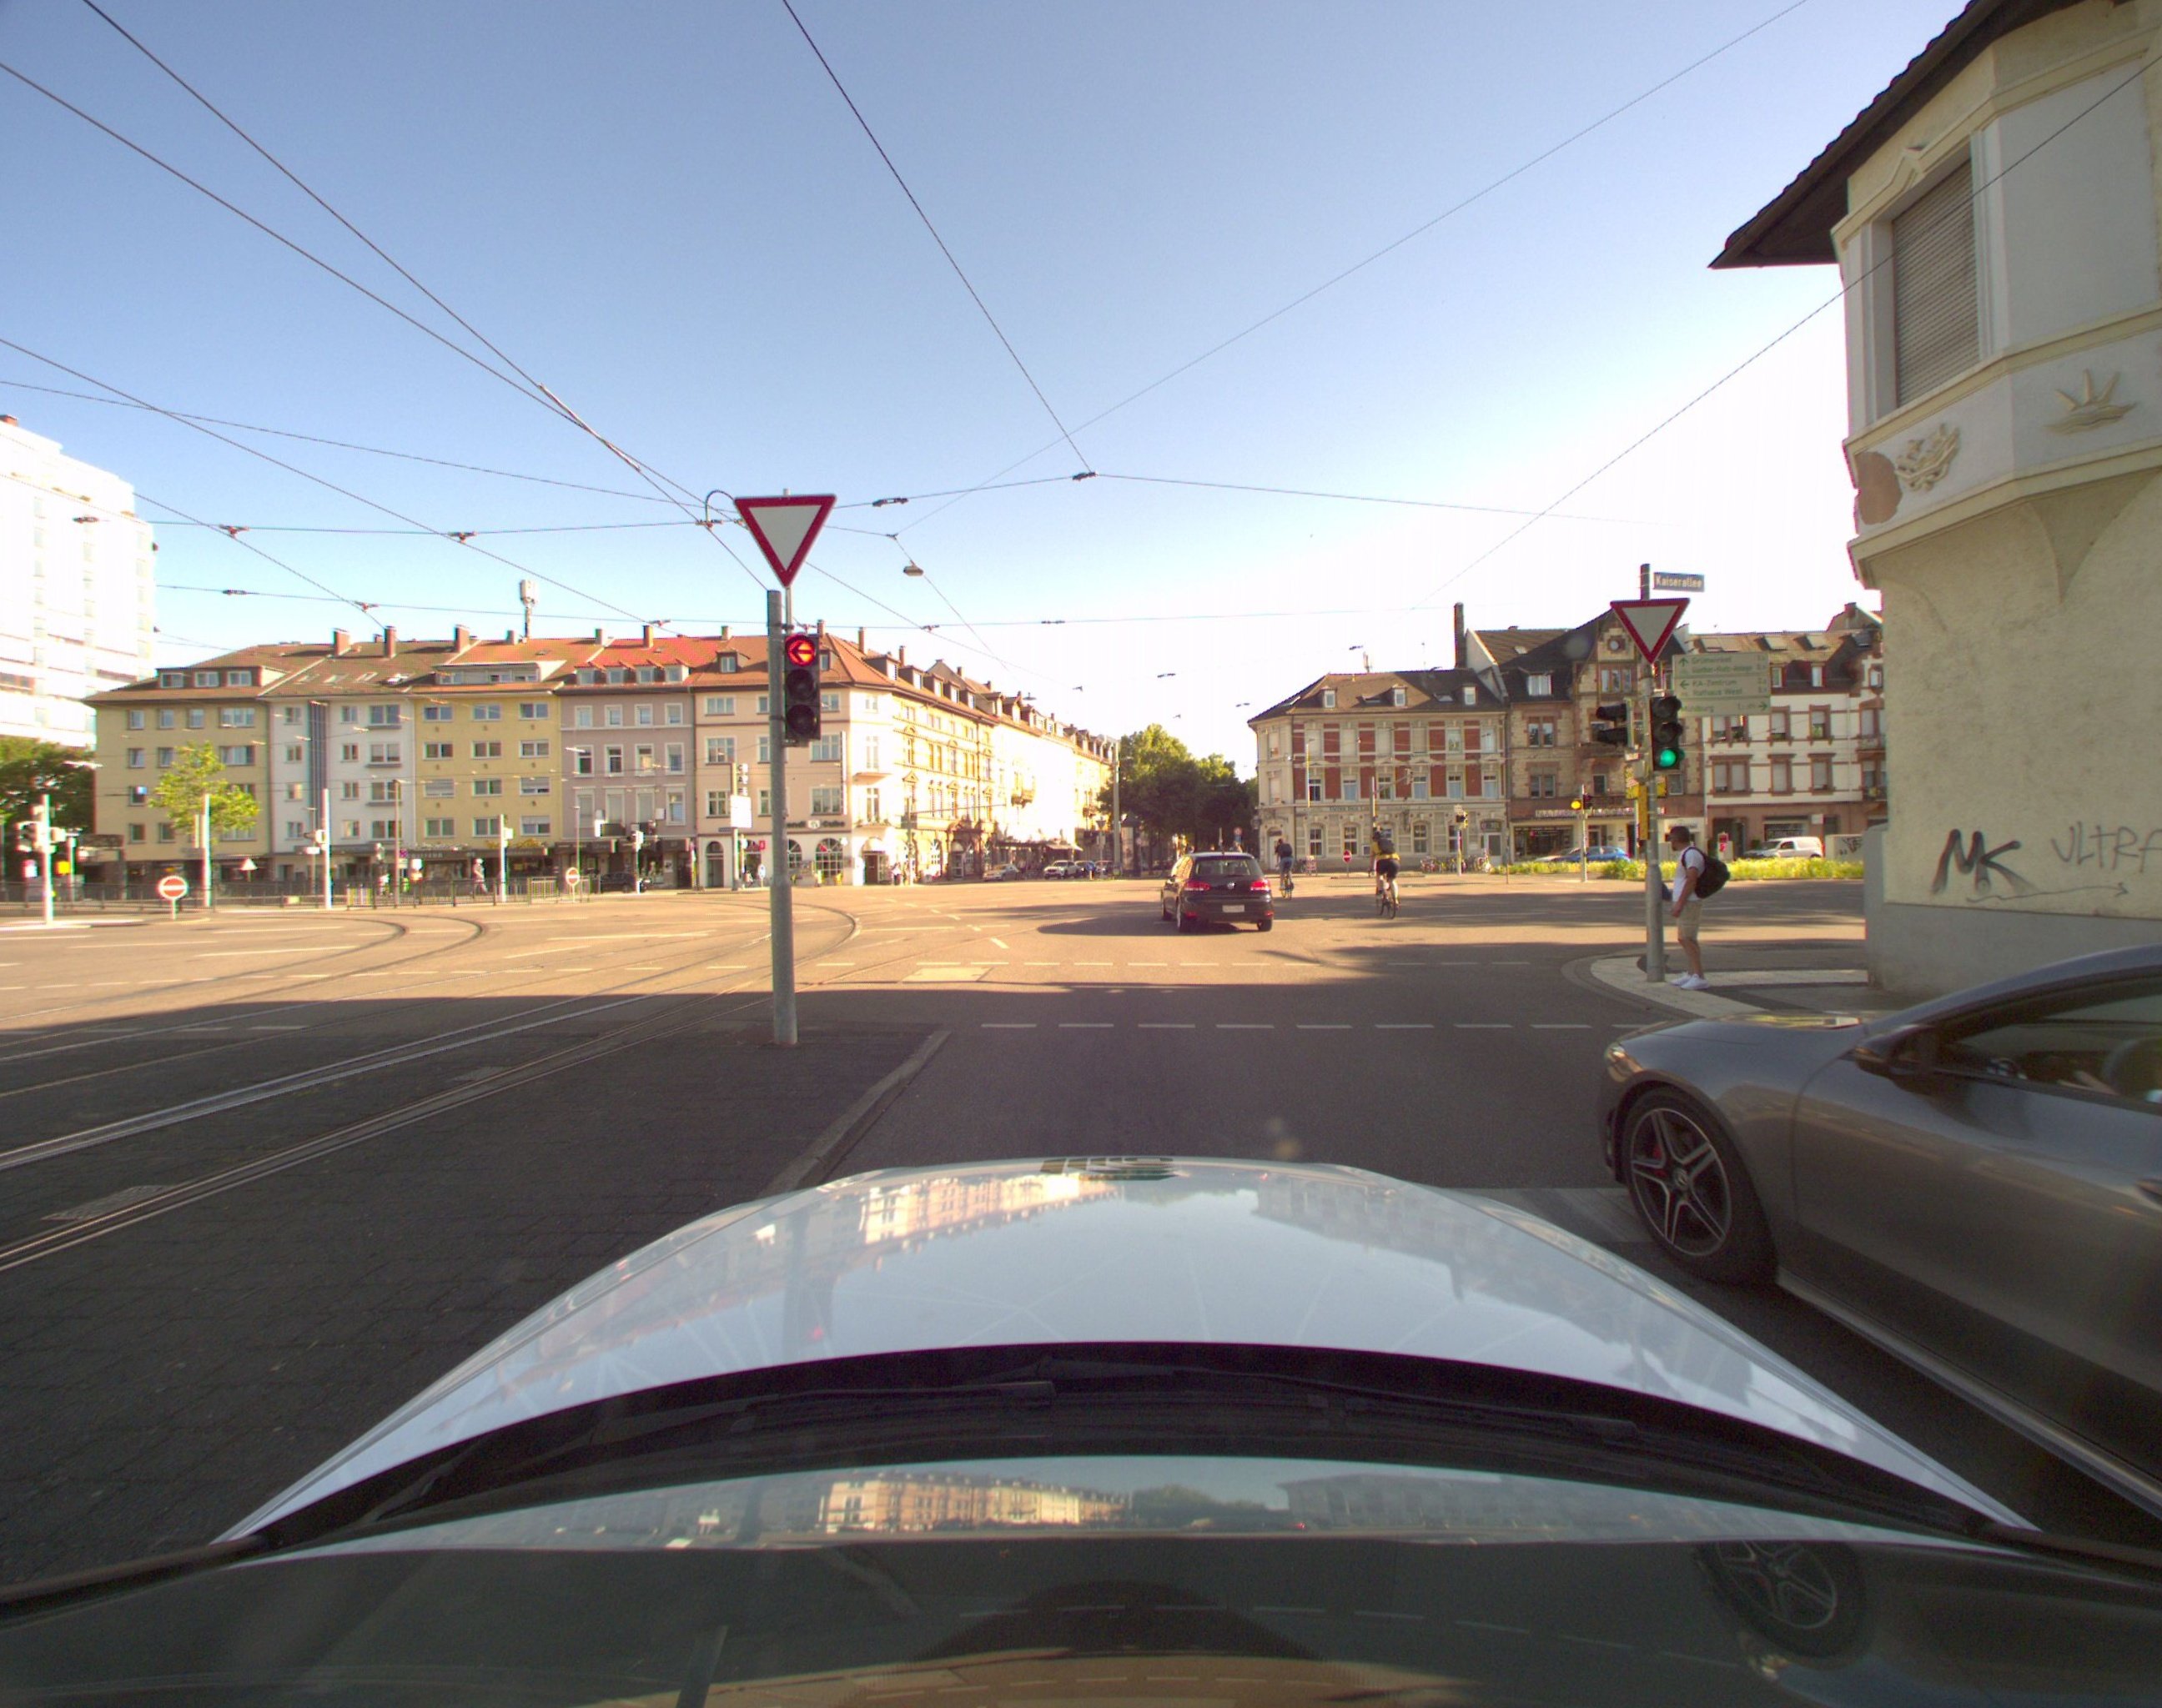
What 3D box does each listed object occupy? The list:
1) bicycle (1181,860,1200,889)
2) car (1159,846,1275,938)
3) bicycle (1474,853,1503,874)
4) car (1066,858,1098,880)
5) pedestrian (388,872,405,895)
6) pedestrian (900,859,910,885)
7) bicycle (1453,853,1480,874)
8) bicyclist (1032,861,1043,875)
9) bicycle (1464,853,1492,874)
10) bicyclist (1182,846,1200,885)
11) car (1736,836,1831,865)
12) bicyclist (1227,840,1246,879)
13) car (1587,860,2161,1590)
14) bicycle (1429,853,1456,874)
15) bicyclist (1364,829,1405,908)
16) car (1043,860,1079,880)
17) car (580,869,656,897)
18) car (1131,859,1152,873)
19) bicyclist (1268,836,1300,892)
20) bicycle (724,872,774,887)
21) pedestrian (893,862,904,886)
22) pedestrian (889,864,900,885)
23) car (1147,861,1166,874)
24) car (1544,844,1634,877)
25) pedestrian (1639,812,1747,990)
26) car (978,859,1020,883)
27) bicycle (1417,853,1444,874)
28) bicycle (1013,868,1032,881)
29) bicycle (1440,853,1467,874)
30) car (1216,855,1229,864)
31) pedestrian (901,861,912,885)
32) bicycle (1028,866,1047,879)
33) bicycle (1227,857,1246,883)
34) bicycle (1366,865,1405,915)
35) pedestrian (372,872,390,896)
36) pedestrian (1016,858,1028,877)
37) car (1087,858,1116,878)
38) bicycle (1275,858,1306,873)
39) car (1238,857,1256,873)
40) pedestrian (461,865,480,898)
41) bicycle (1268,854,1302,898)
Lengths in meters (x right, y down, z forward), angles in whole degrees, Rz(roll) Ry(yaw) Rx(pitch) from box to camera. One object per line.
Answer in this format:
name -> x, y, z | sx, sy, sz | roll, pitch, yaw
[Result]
bicycle -> 4.199, 0.765, 31.174 | 0.623, 1.085, 1.705 | 0, -1, 5
car -> 2.531, 0.633, 16.004 | 1.722, 1.508, 4.053 | 0, 1, 2
bicycle -> 26.198, 0.610, 52.372 | 0.626, 1.287, 2.663 | 0, -1, 3
car -> 0.092, 1.364, 73.859 | 1.979, 1.904, 4.015 | -1, -1, 14
pedestrian -> -48.407, 2.094, 57.595 | 0.631, 1.634, 0.700 | 0, -1, -2
pedestrian -> -12.794, 1.306, 59.164 | 0.631, 1.881, 0.465 | 0, -1, -2
bicycle -> 24.776, 0.620, 52.404 | 0.626, 1.287, 2.663 | 0, -1, 3
bicyclist -> -3.771, 1.212, 70.612 | 0.626, 1.185, 0.689 | -1, -1, 23
bicycle -> 25.503, 0.615, 52.400 | 0.626, 1.287, 2.663 | 0, -1, 3
bicyclist -> 4.221, 0.431, 31.349 | 0.635, 1.494, 0.885 | 0, 1, 6
car -> 45.312, -0.227, 52.588 | 4.349, 1.778, 2.000 | 0, -1, 1
bicyclist -> 6.488, 0.227, 33.960 | 0.684, 1.633, 0.887 | -1, -1, 14
car -> 3.049, 0.725, 1.274 | 1.899, 1.420, 4.496 | 0, 0, 3
bicycle -> 23.262, 0.617, 52.439 | 0.689, 1.287, 2.663 | 0, -1, 3
bicyclist -> 6.558, 0.303, 17.614 | 0.799, 1.663, 0.888 | -1, -1, 19
car -> -1.655, 1.292, 67.503 | 1.979, 1.618, 4.015 | -1, -1, 14
car -> -30.588, 1.910, 53.827 | 3.962, 1.670, 2.006 | -2, 0, 10
car -> 8.392, 1.614, 112.708 | 1.977, 1.904, 4.019 | -1, -1, 19
bicyclist -> 5.947, 0.296, 23.879 | 0.801, 1.606, 0.885 | 0, -1, 7
bicycle -> -23.425, 1.782, 57.477 | 3.118, 0.980, 1.002 | 0, -1, 1
pedestrian -> -12.636, 1.365, 56.378 | 0.631, 1.634, 0.700 | 0, -1, -2
pedestrian -> -13.283, 1.455, 57.971 | 0.631, 1.477, 0.465 | 0, -1, -2
car -> 11.393, 2.066, 122.492 | 1.977, 1.904, 4.019 | -1, -1, 19
car -> 28.219, 0.347, 45.346 | 3.769, 1.778, 2.000 | 0, -1, 1
pedestrian -> 6.410, 0.475, 8.540 | 0.589, 1.756, 0.635 | -5, -1, -37
car -> -6.741, 1.362, 67.483 | 1.977, 1.904, 4.019 | -1, -1, 19
bicycle -> 22.475, 0.595, 52.461 | 0.689, 1.287, 2.663 | 0, -1, 3
bicycle -> -4.732, 1.630, 65.571 | 0.756, 1.008, 2.406 | -1, -1, 16
bicycle -> 23.985, 0.605, 52.432 | 0.626, 1.287, 2.663 | 0, -1, 3
car -> 23.320, 0.912, 134.483 | 1.546, 1.513, 3.673 | -1, -1, 19
pedestrian -> -12.340, 1.348, 57.727 | 0.631, 1.634, 0.700 | 0, -1, -2
bicycle -> -3.754, 1.614, 70.665 | 0.644, 1.123, 2.265 | -1, -1, 23
bicycle -> 6.522, 0.656, 34.026 | 0.644, 1.031, 1.778 | -1, -1, 15
bicycle -> 6.635, 0.761, 17.785 | 0.748, 1.031, 1.789 | -1, -1, 20
pedestrian -> -48.426, 2.085, 56.370 | 0.631, 1.634, 0.700 | 0, -1, -2
pedestrian -> -4.761, 1.100, 65.503 | 0.814, 1.512, 0.601 | -1, -1, 16
car -> 2.023, 1.397, 79.768 | 1.979, 1.904, 4.015 | -1, -1, 14
bicycle -> 14.646, 0.822, 56.949 | 2.040, 0.998, 0.631 | -1, -1, 4
car -> 16.816, 1.106, 82.379 | 1.680, 1.565, 3.855 | -1, -1, 14
pedestrian -> -31.217, 1.405, 41.661 | 0.523, 1.628, 0.577 | 0, -1, 0
bicycle -> 5.954, 0.634, 23.824 | 0.751, 1.236, 1.706 | 0, -1, 7
